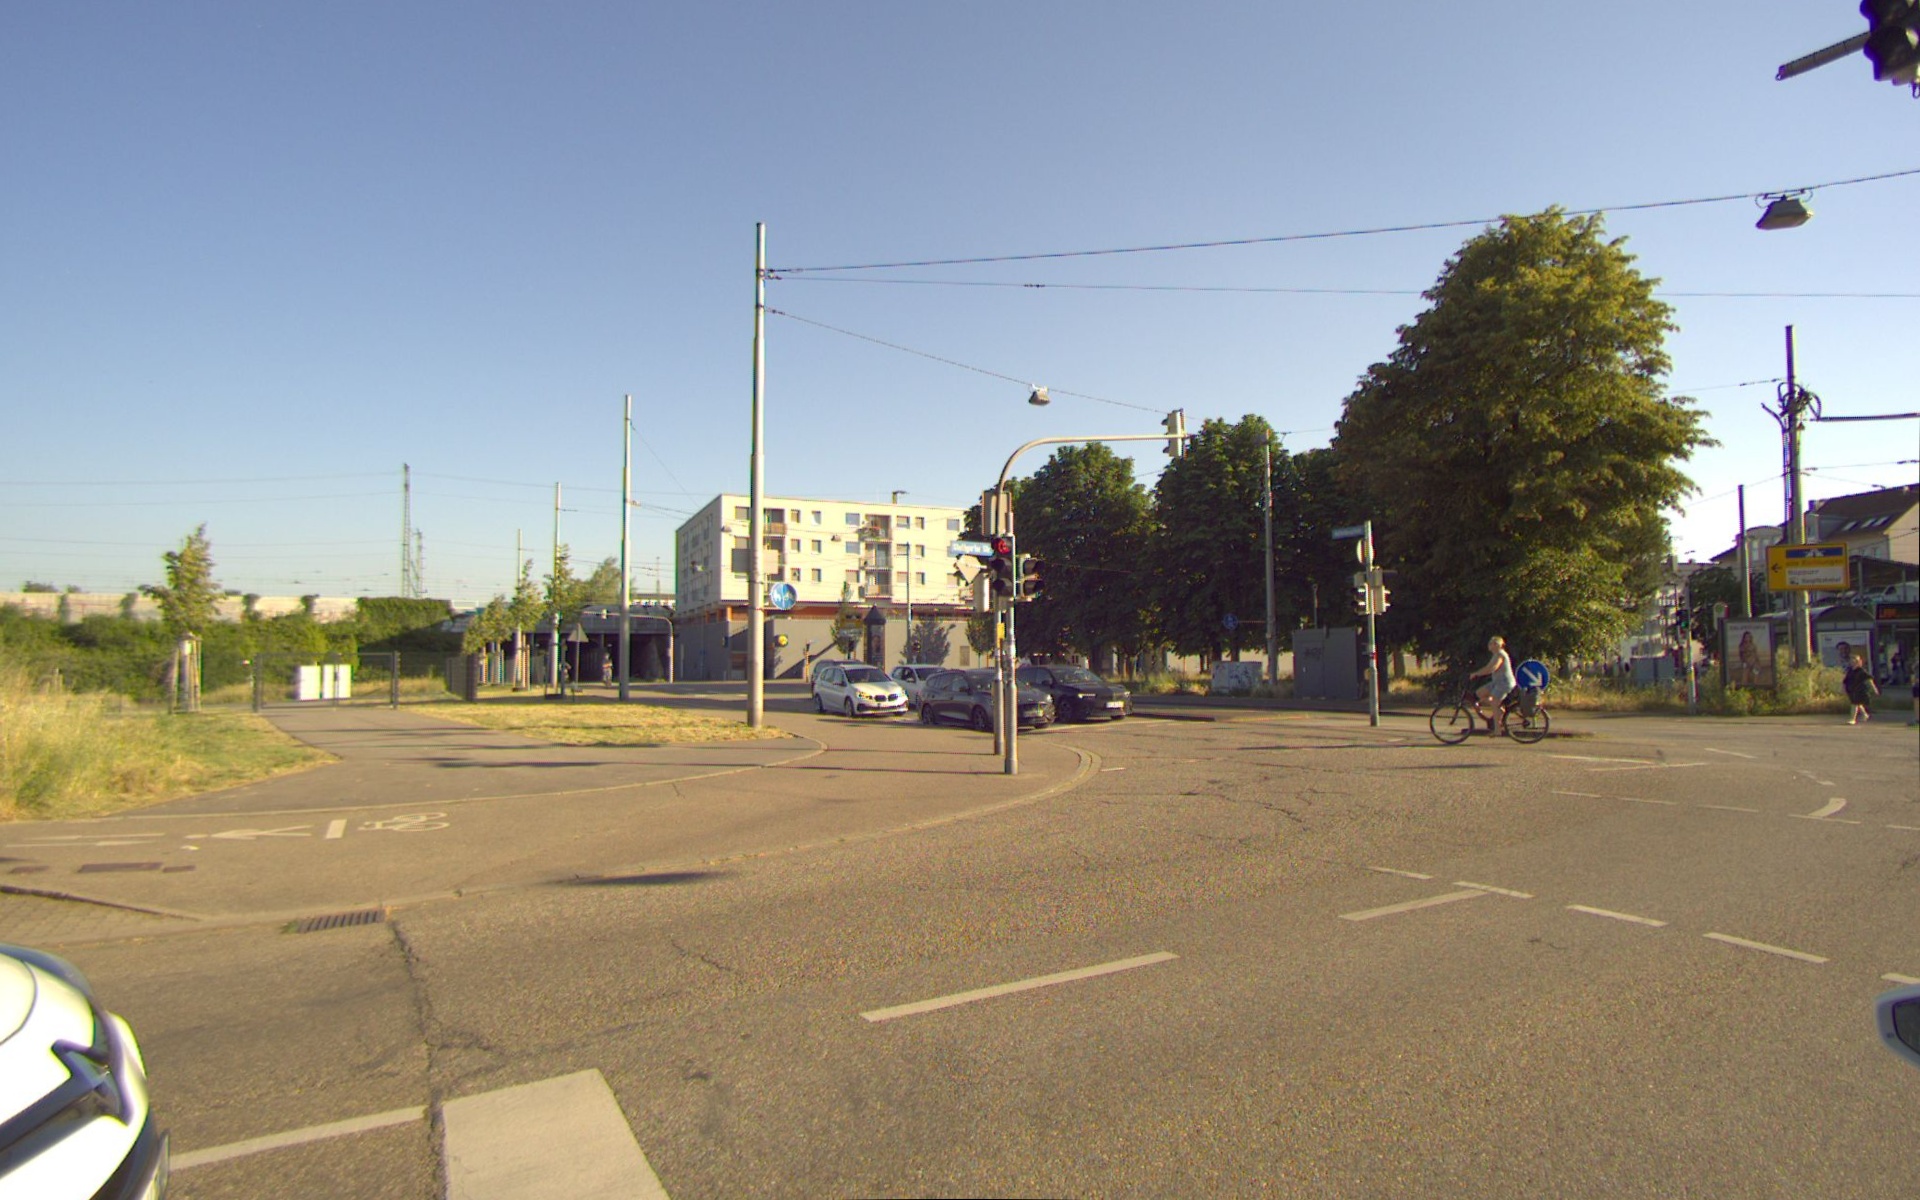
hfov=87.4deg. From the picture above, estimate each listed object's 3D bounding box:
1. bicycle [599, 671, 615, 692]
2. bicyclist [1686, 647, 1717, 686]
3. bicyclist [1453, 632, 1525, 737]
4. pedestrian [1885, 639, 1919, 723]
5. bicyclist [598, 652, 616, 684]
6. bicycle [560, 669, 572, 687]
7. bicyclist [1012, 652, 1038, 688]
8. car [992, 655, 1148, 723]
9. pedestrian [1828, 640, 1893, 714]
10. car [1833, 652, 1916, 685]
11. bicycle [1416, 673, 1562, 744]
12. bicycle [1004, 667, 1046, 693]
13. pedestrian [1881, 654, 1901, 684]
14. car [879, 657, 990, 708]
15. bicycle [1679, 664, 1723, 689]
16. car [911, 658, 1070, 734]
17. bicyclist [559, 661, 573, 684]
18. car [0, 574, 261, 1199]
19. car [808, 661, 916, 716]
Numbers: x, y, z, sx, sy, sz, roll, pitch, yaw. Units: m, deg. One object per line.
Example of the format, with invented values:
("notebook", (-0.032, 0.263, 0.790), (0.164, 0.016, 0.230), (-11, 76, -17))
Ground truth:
("bicycle", (-18.541, 4.265, 52.753), (0.743, 1.107, 1.940), (1, -4, -21))
("bicyclist", (32.543, 2.914, 44.078), (0.874, 1.673, 0.667), (1, -3, -23))
("bicyclist", (8.511, 1.353, 16.204), (0.840, 1.626, 0.777), (-1, -3, 16))
("pedestrian", (22.669, 1.895, 23.739), (1.057, 1.950, 0.906), (2, -4, -35))
("bicyclist", (-18.534, 3.562, 52.747), (0.865, 1.646, 0.968), (1, -3, -21))
("bicycle", (-27.069, 5.349, 68.992), (0.781, 1.164, 2.281), (1, -4, -22))
("bicyclist", (3.039, 3.239, 46.934), (0.707, 1.650, 1.031), (2, -3, -37))
("car", (2.768, 2.278, 26.406), (2.027, 1.587, 4.423), (1, -4, -26))
("pedestrian", (22.080, 1.873, 24.630), (1.057, 1.769, 0.906), (2, -4, -35))
("car", (59.350, 4.428, 65.341), (2.017, 1.987, 5.153), (-4, -4, 19))
("bicycle", (8.477, 1.726, 16.189), (1.979, 1.083, 0.664), (-2, -3, 19))
("bicycle", (3.025, 3.726, 46.893), (0.694, 1.157, 2.179), (2, -4, -36))
("pedestrian", (47.902, 3.541, 51.682), (0.558, 1.520, 0.677), (-2, -4, 32))
("car", (-0.942, 2.725, 33.651), (1.975, 1.587, 4.426), (1, -4, -27))
("bicycle", (32.478, 3.349, 44.033), (1.991, 1.083, 0.660), (1, -3, -25))
("car", (0.620, 2.231, 24.088), (1.975, 1.587, 4.246), (0, -3, -27))
("bicyclist", (-27.090, 4.969, 69.061), (0.839, 1.567, 1.018), (1, -3, -20))
("car", (-3.065, 0.716, 1.006), (3.733, 1.488, 1.692), (2, -4, -32))
("car", (-3.150, 2.715, 31.462), (1.975, 1.587, 4.246), (1, -4, -27))
